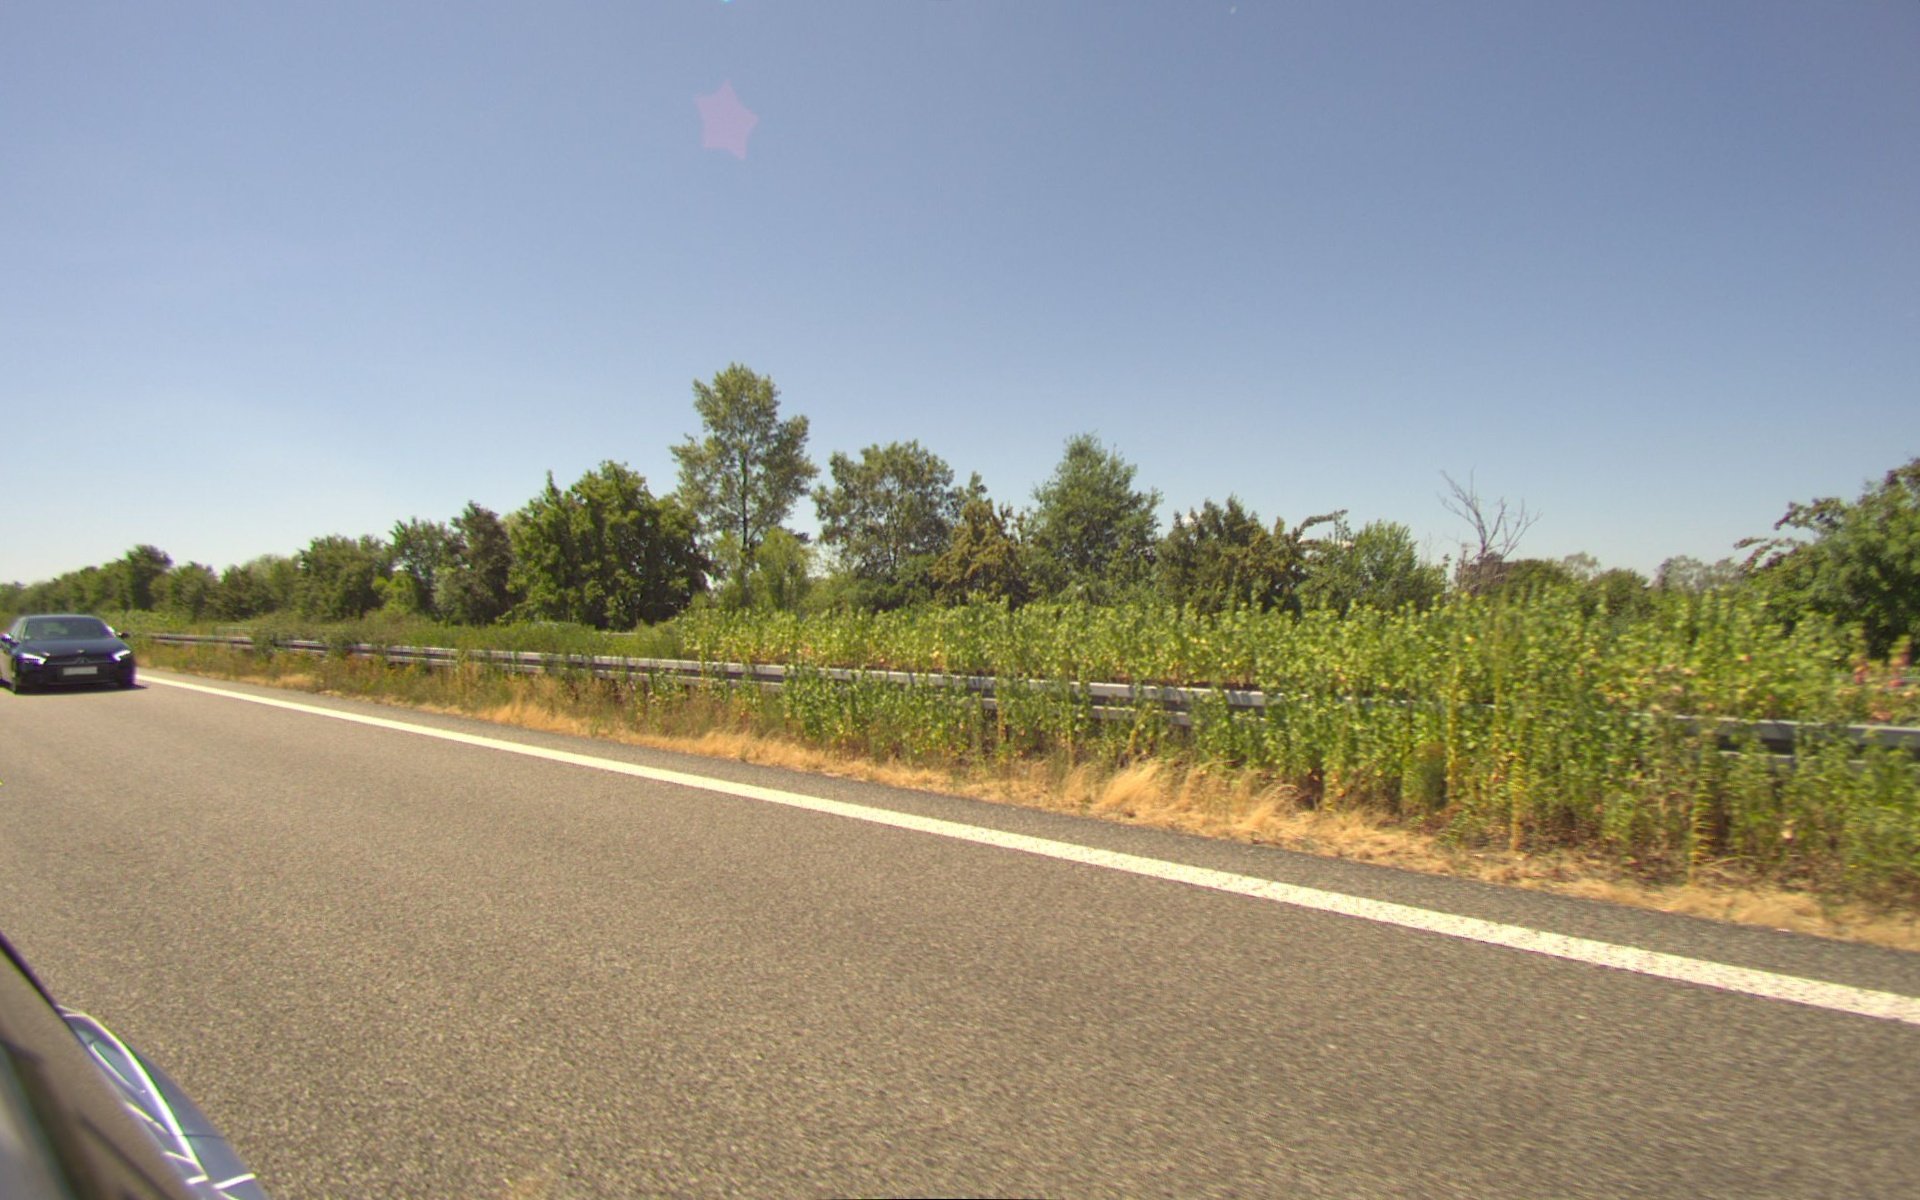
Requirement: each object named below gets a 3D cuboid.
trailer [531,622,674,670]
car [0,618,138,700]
[{"bbox_3d":[-14.125,1.727,39.723,6.487,1.697,2.463,-1,-1,41],"label":"trailer"},{"bbox_3d":[-17.653,1.075,19.833,4.051,1.422,1.773,-1,-1,41],"label":"car"}]
